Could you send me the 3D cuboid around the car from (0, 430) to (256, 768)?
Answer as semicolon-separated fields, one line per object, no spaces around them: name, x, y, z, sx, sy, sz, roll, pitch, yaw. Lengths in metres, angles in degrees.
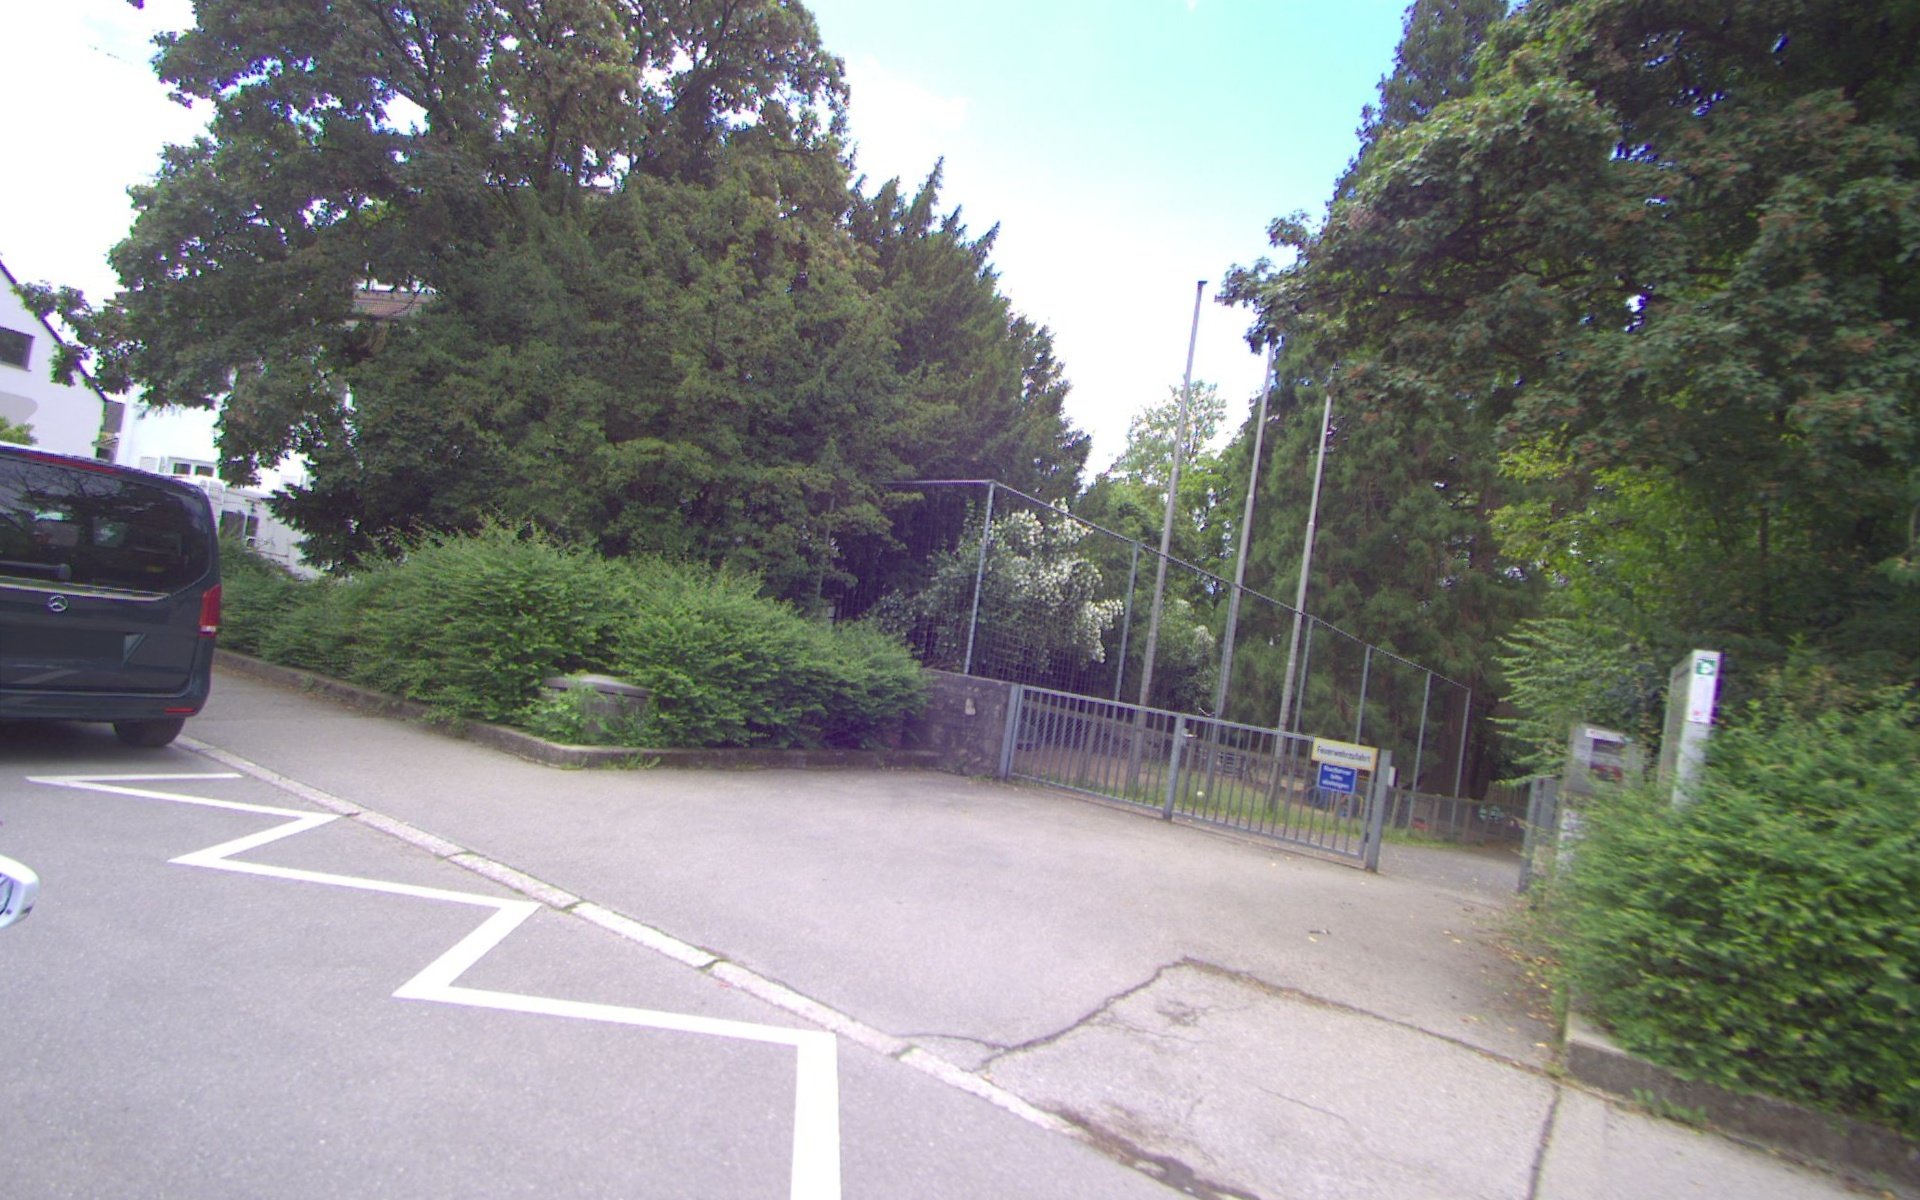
car;-7.380;-0.212;7.079;5.071;1.869;1.914;6;-3;31

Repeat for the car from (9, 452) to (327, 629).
car;-16.320;-1.209;20.809;5.089;2.709;2.511;7;-4;19
